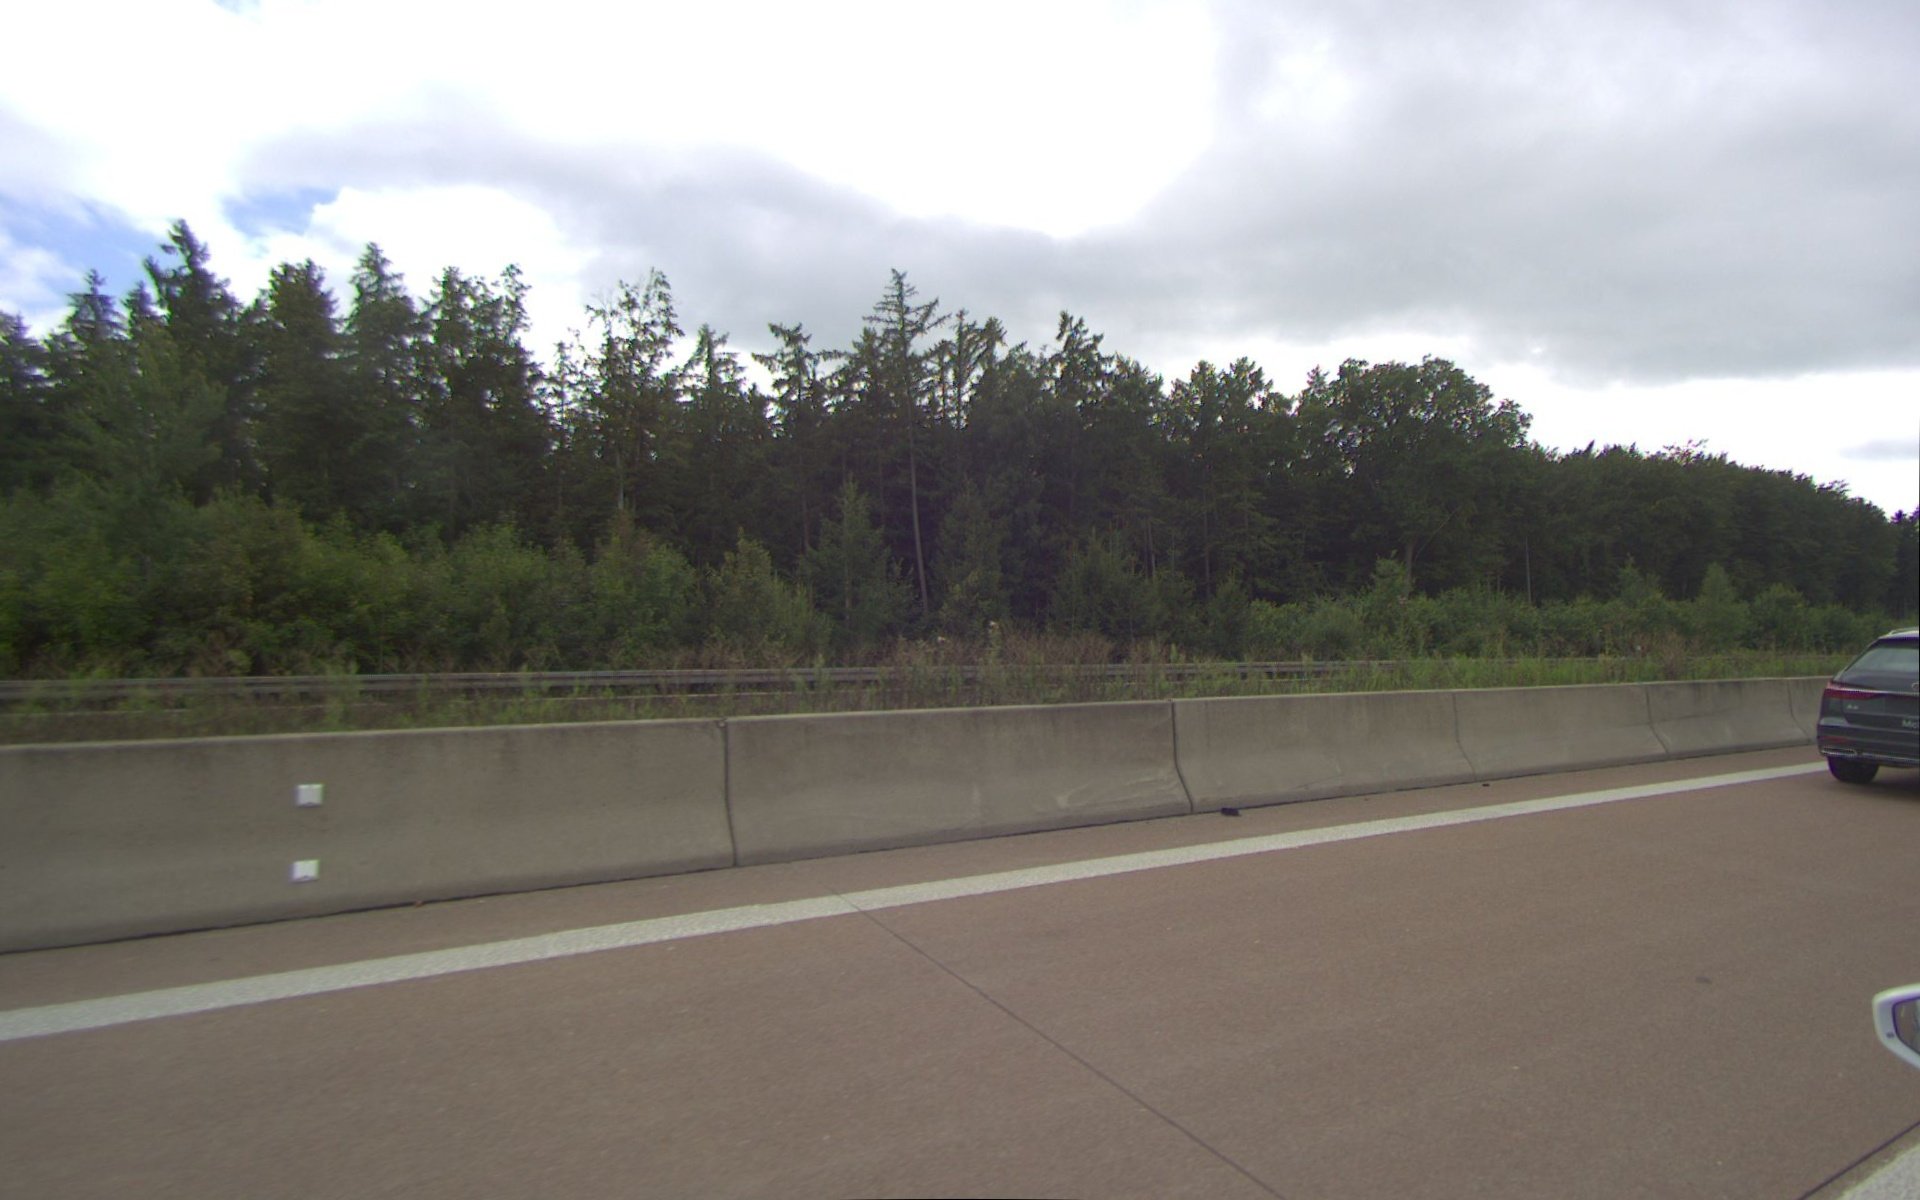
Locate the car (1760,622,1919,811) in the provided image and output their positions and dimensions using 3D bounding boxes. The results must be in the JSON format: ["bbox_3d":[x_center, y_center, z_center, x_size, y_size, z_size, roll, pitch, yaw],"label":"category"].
[{"bbox_3d":[10.098,1.002,9.579,5.388,1.511,2.049,1,0,-30],"label":"car"}]
